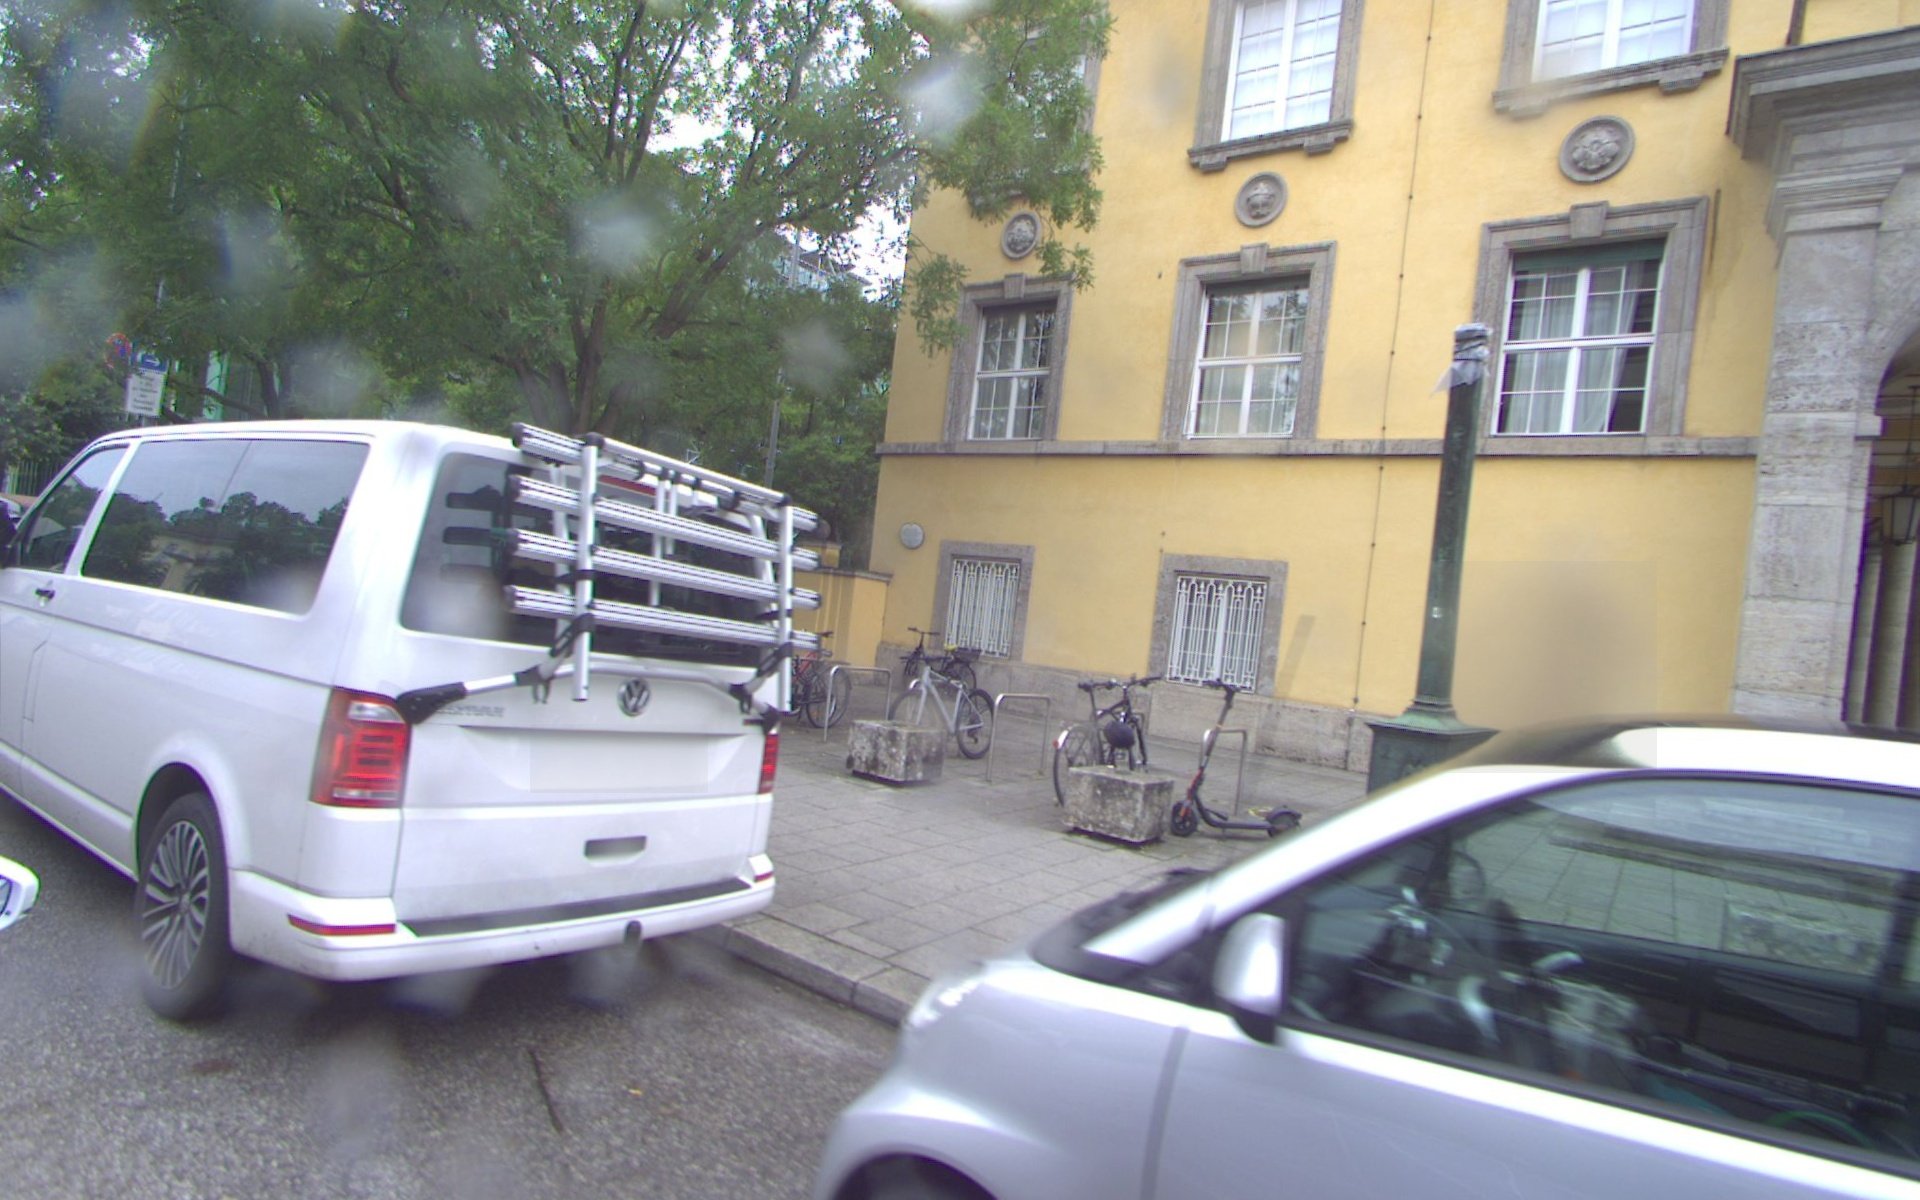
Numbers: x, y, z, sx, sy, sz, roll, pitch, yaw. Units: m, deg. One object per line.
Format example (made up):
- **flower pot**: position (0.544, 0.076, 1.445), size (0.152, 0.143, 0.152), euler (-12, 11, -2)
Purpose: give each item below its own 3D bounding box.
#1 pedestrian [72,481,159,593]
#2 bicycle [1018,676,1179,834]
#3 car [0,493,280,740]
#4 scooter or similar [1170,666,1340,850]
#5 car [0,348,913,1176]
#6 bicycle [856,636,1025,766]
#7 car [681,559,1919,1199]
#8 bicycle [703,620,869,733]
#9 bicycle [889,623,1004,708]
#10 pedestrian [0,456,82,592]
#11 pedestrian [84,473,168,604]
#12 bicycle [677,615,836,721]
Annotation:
- **pedestrian**: position (-15.566, -1.134, 18.578), size (0.734, 1.931, 1.051), euler (6, 0, -19)
- **bicycle**: position (1.216, 1.234, 8.458), size (0.463, 1.127, 1.933), euler (7, 0, 33)
- **car**: position (-7.685, -0.055, 8.099), size (4.893, 1.506, 1.775), euler (7, -3, 33)
- **scooter or similar**: position (2.236, 1.194, 7.682), size (0.995, 1.237, 0.537), euler (6, 1, -10)
- **car**: position (-2.943, 0.261, 4.613), size (5.189, 1.954, 1.849), euler (6, -4, 35)
- **bicycle**: position (-0.138, 0.985, 9.933), size (0.464, 1.127, 1.931), euler (7, 0, 37)
- **car**: position (1.139, 0.927, 1.758), size (2.888, 1.563, 1.608), euler (6, -3, 36)
- **bicycle**: position (-1.901, 0.871, 11.285), size (0.464, 1.127, 1.931), euler (7, 0, 37)
- **bicycle**: position (-0.246, 1.100, 17.081), size (1.872, 1.168, 0.542), euler (7, 0, 35)
- **pedestrian**: position (-15.579, -1.280, 17.004), size (1.039, 2.161, 0.742), euler (7, 0, 35)
- **pedestrian**: position (-14.701, -1.080, 17.733), size (1.039, 2.161, 0.742), euler (7, 0, 35)
- **bicycle**: position (-2.372, 0.820, 11.961), size (0.464, 1.127, 1.931), euler (7, 0, 37)
